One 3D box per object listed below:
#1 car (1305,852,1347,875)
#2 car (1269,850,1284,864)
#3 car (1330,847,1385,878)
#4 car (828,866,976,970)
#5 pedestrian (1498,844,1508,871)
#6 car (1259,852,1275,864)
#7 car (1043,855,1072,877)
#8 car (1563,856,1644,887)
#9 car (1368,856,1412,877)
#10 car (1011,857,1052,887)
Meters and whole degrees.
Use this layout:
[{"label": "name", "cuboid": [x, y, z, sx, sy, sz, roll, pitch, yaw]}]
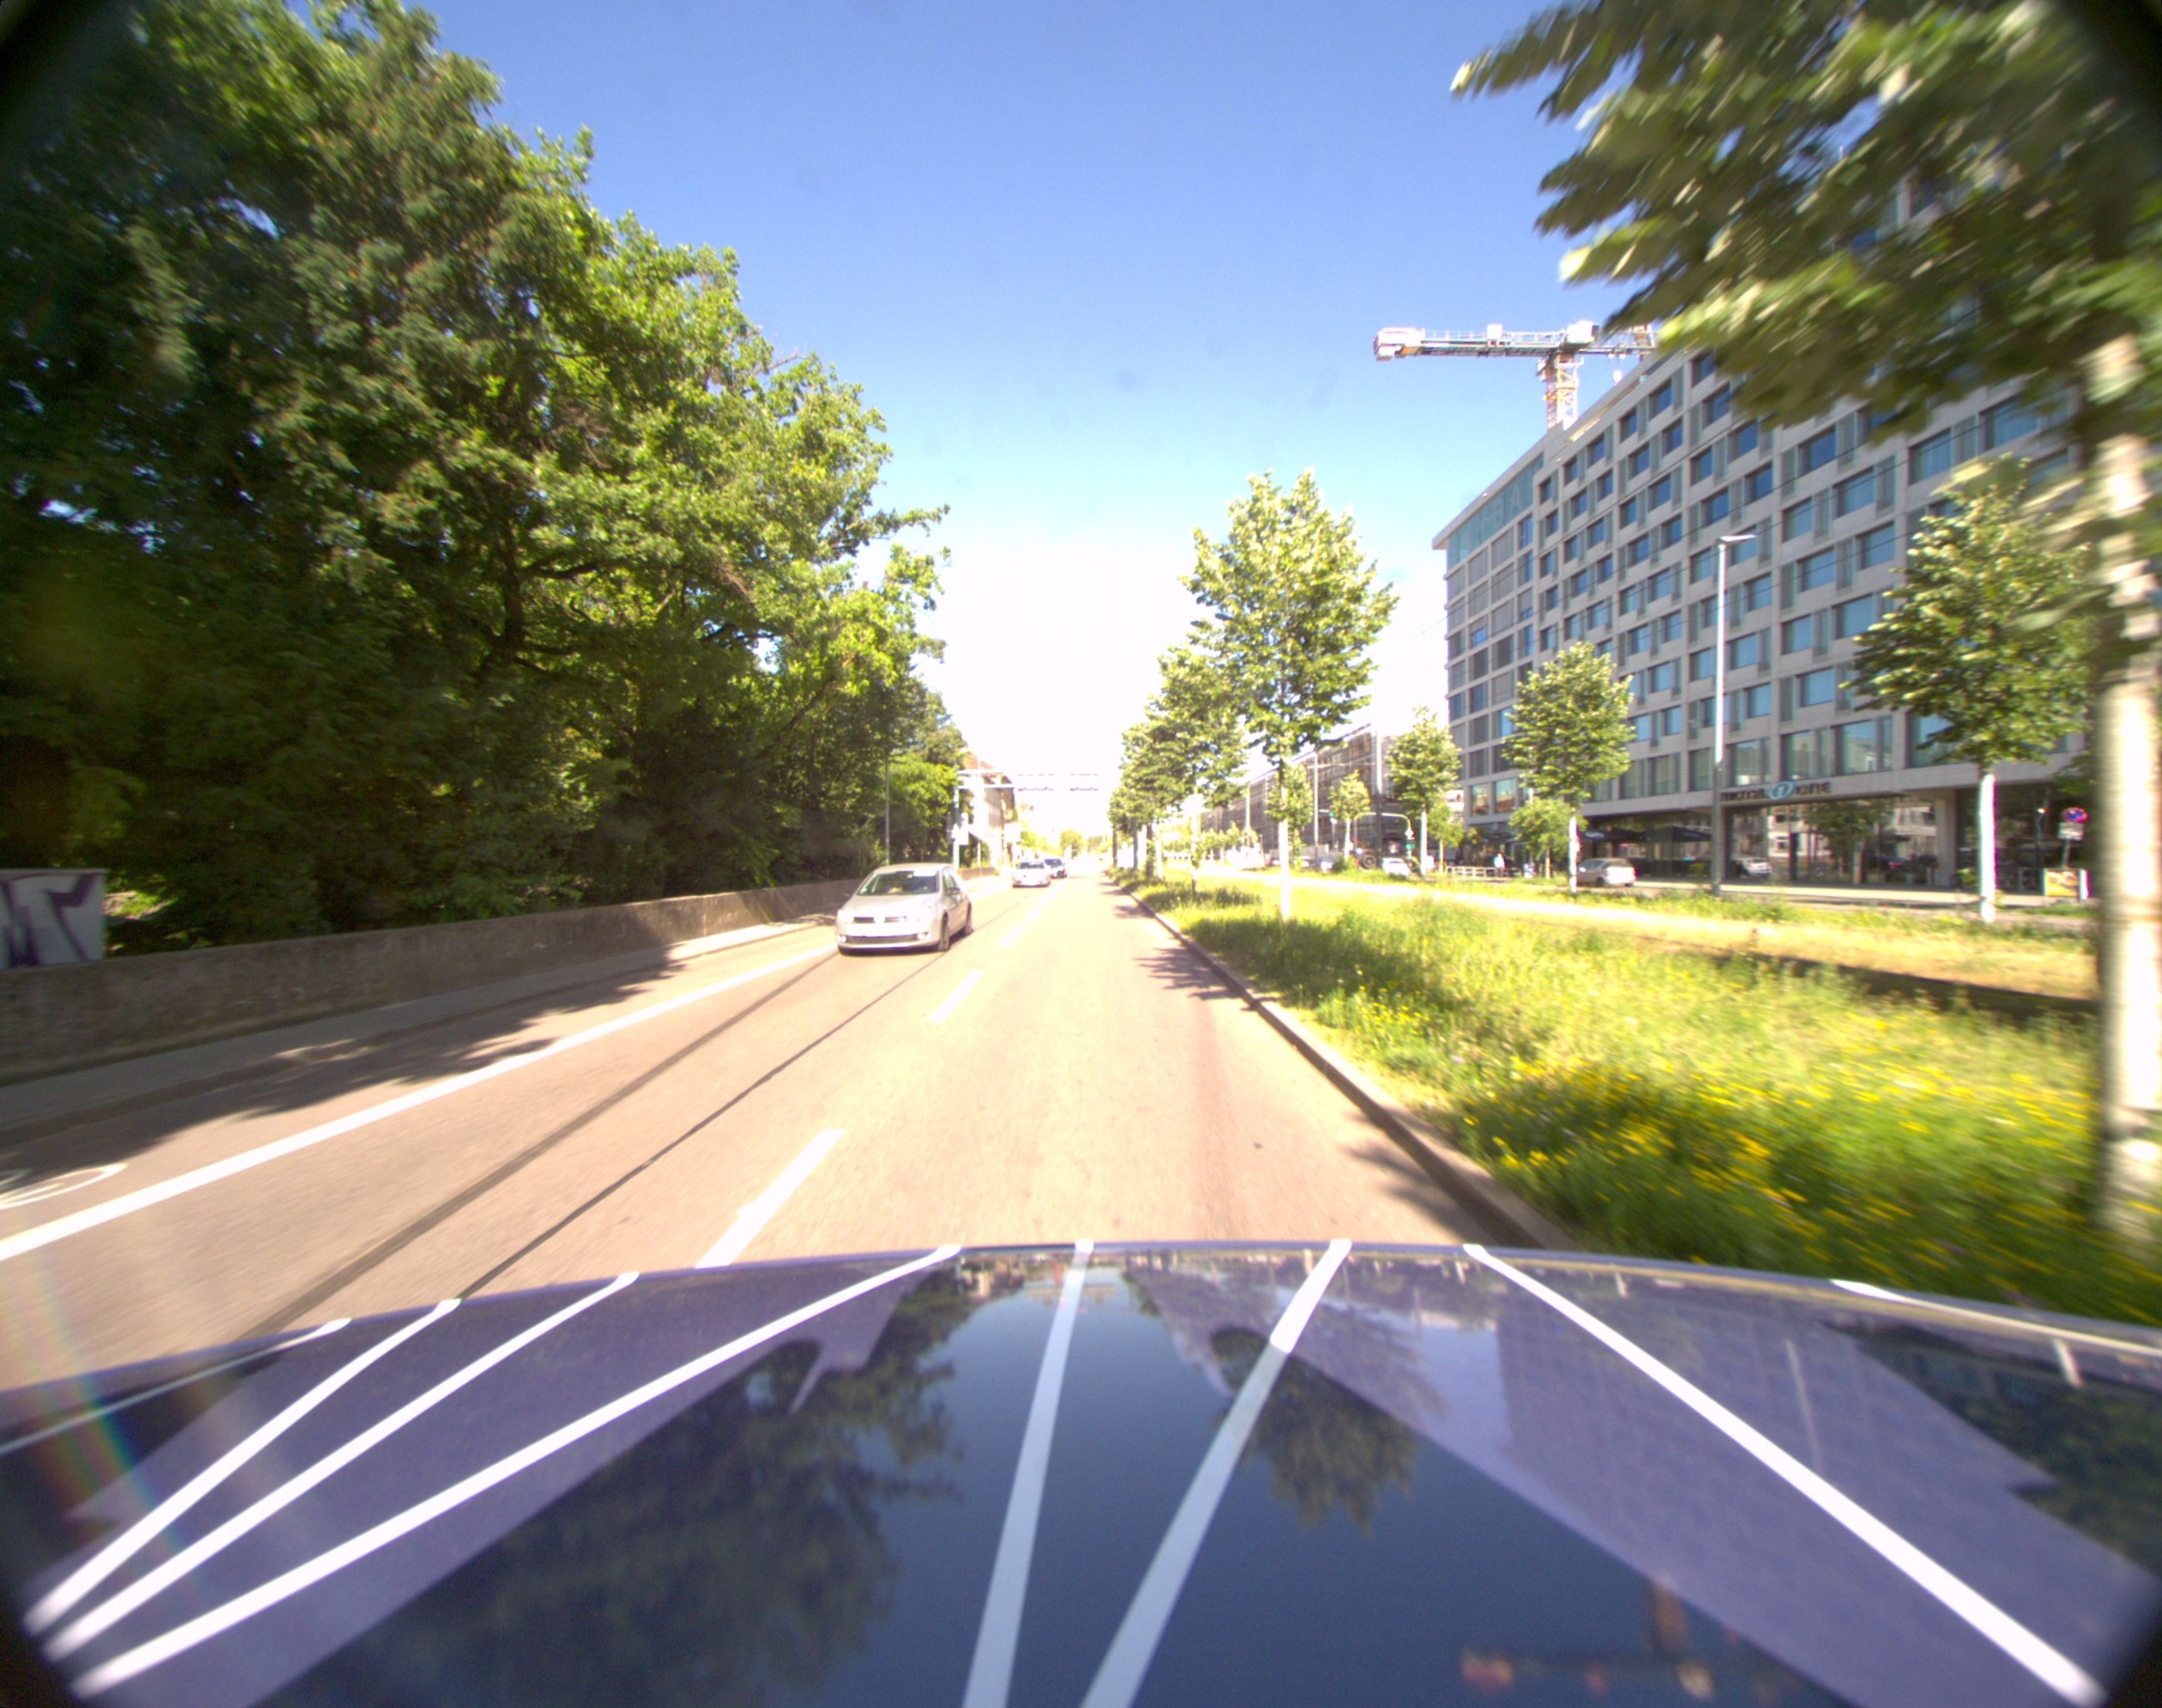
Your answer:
[{"label": "car", "cuboid": [17.724, 0.662, 55.154, 1.730, 1.543, 4.000, -1, 0, 0]}, {"label": "car", "cuboid": [24.320, 0.351, 94.488, 1.776, 1.664, 3.893, -1, 0, 14]}, {"label": "car", "cuboid": [17.476, 0.496, 48.287, 1.998, 1.808, 4.285, -1, 0, 1]}, {"label": "car", "cuboid": [-3.037, 1.022, 13.722, 1.703, 1.466, 3.999, -1, 0, 0]}, {"label": "pedestrian", "cuboid": [29.607, 0.232, 53.305, 0.509, 1.829, 0.515, -1, 1, 12]}, {"label": "car", "cuboid": [26.464, 0.572, 108.125, 1.888, 1.565, 4.002, -1, 0, 8]}, {"label": "car", "cuboid": [-1.721, 0.850, 54.848, 1.999, 1.493, 3.999, 0, 0, -2]}, {"label": "car", "cuboid": [28.558, 0.915, 41.662, 1.865, 1.541, 3.772, -1, 0, 0]}, {"label": "car", "cuboid": [23.868, 0.929, 58.822, 1.827, 1.499, 3.813, -1, 0, 0]}, {"label": "car", "cuboid": [-2.536, 0.911, 39.706, 1.839, 1.415, 3.999, -1, 0, 0]}]
